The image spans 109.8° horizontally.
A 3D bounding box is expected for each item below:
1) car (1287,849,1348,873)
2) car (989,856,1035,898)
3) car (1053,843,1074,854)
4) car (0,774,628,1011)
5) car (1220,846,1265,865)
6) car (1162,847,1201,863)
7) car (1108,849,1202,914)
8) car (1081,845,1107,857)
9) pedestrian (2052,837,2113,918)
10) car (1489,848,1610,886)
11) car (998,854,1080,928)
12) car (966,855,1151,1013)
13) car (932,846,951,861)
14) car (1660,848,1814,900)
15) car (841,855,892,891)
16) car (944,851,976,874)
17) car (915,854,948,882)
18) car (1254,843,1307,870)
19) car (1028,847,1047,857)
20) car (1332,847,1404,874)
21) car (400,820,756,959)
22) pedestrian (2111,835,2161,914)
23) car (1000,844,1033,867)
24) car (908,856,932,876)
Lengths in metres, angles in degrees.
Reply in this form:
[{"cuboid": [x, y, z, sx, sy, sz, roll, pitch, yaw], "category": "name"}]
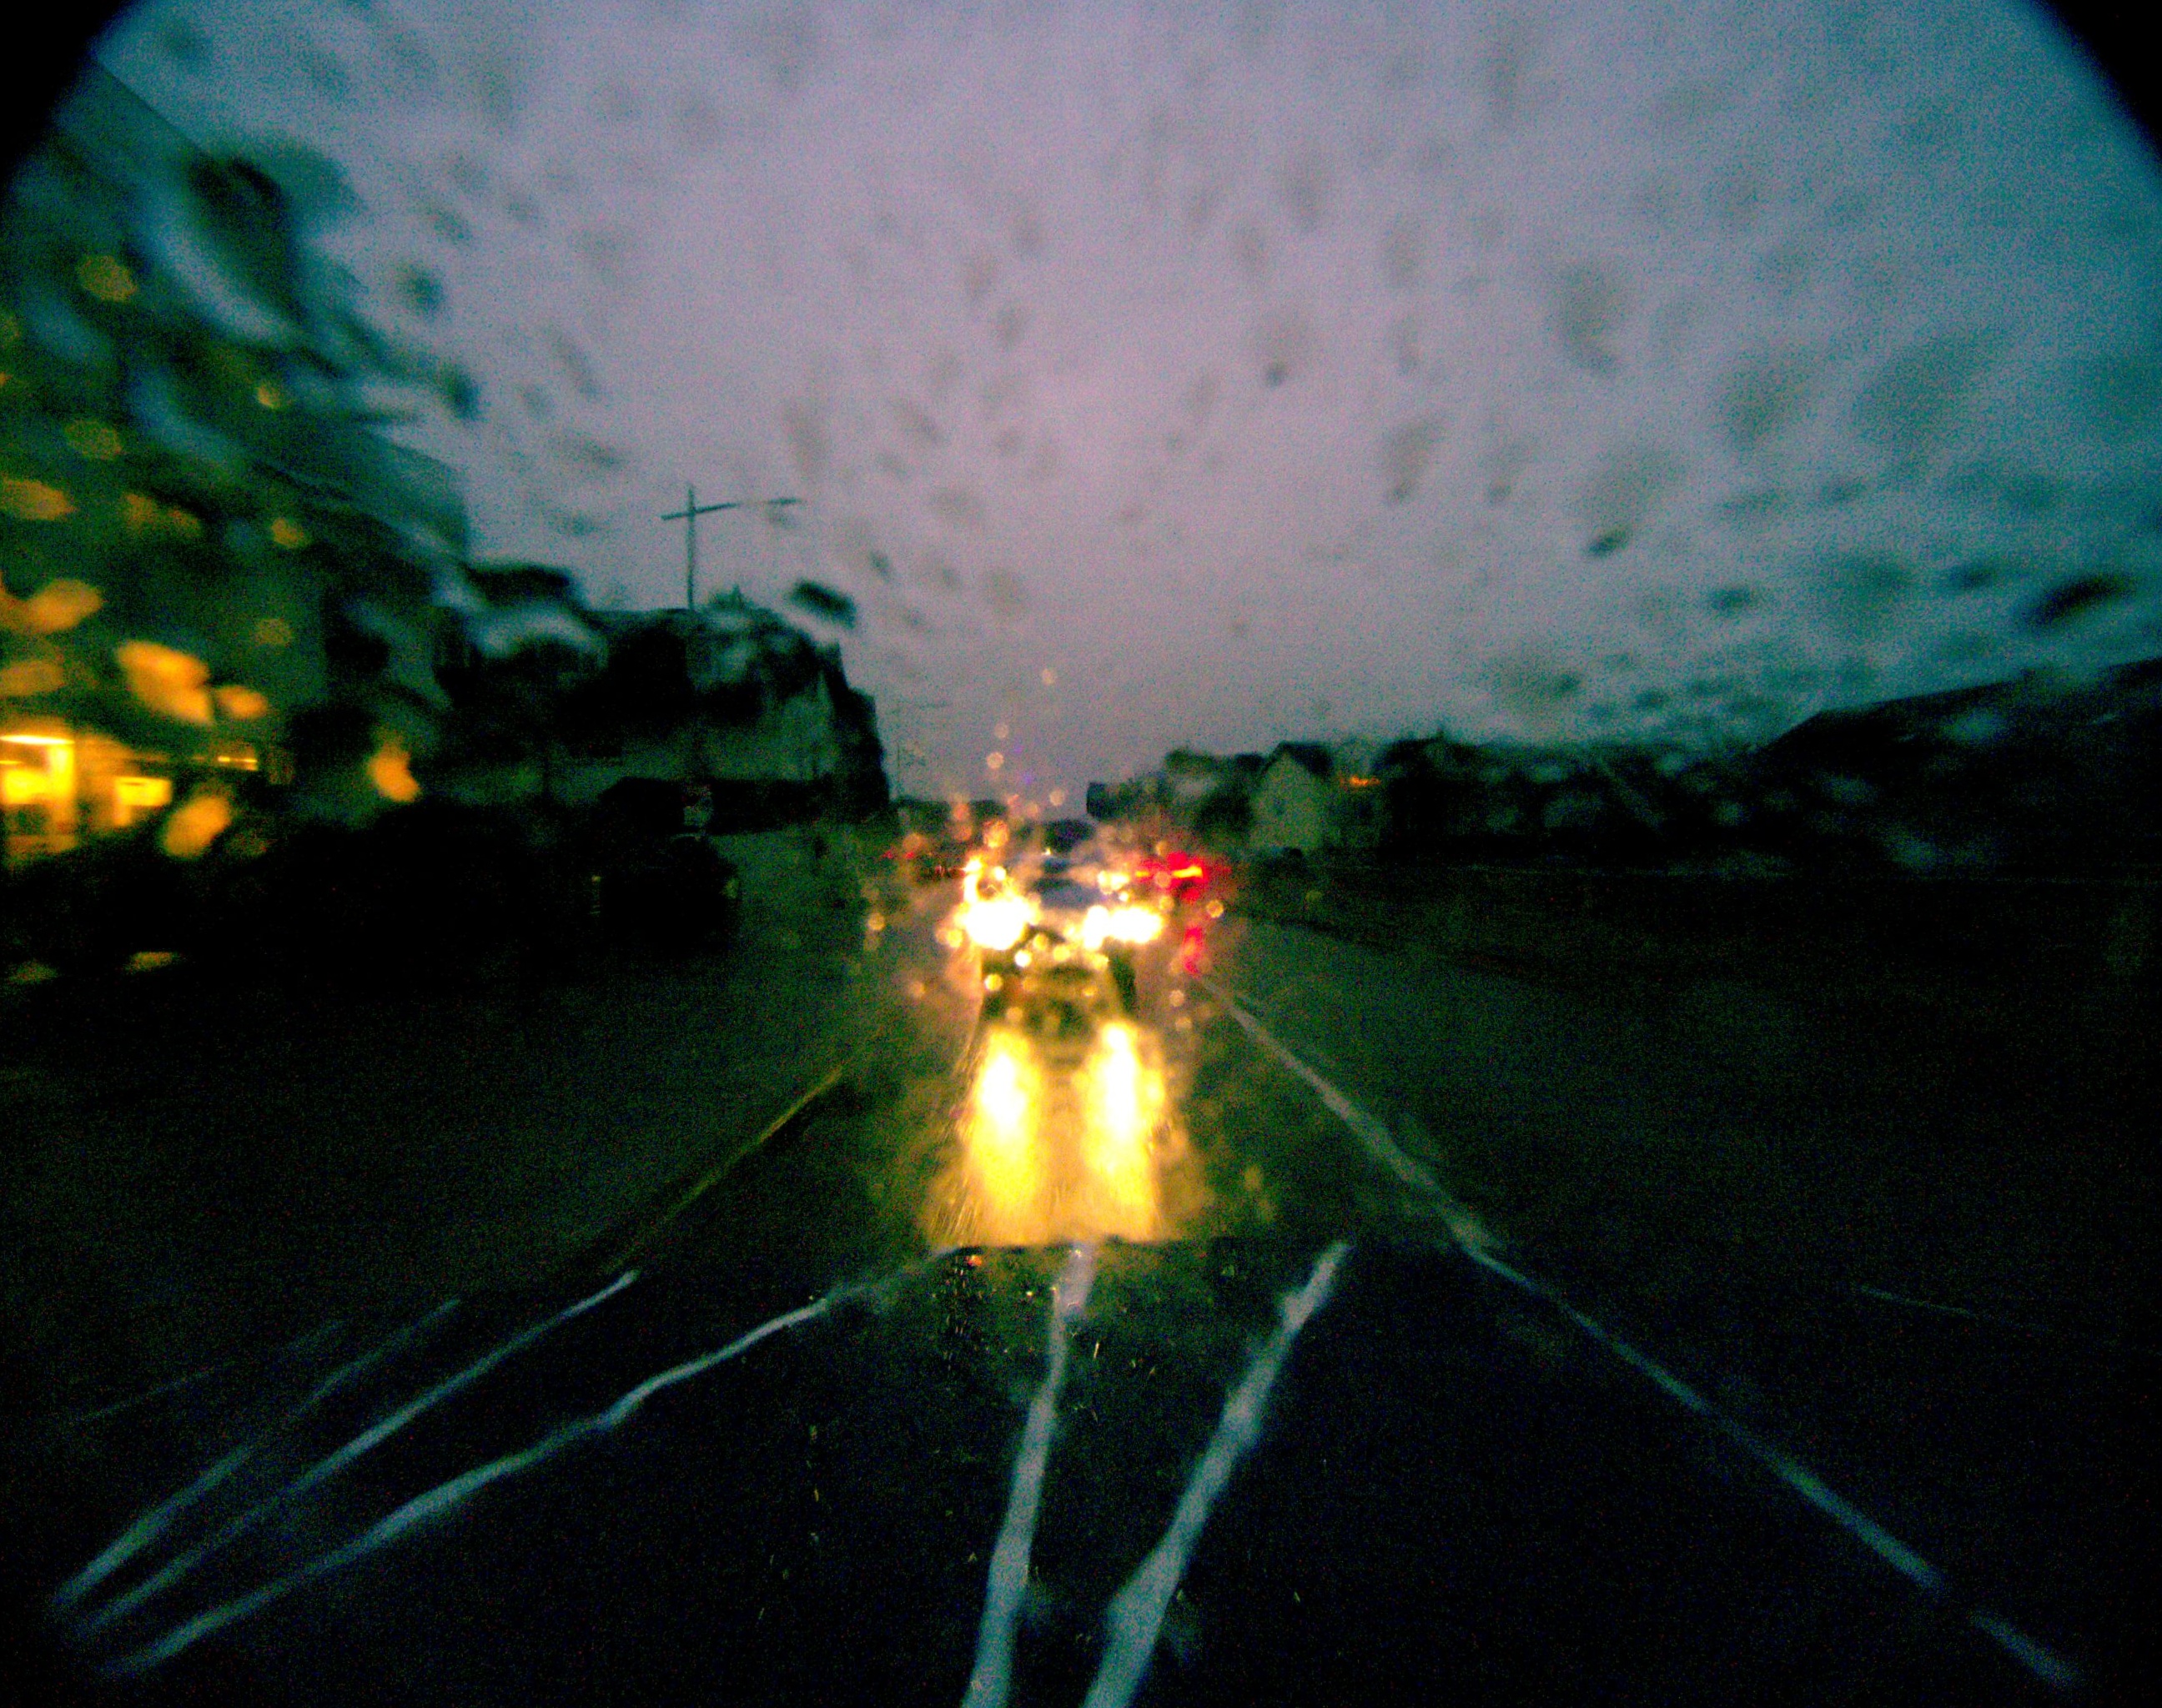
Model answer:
[{"cuboid": [15.243, 0.414, 49.193, 1.801, 1.460, 4.251, -1, 1, -14], "category": "car"}, {"cuboid": [-2.759, 0.844, 29.820, 1.572, 1.460, 3.614, -3, 0, -7], "category": "car"}, {"cuboid": [-2.484, -0.730, 105.452, 1.801, 1.460, 4.250, -1, 1, -18], "category": "car"}, {"cuboid": [-7.828, 0.402, 8.180, 4.553, 1.922, 1.974, 4, 0, -4], "category": "car"}, {"cuboid": [12.608, 0.125, 59.502, 1.677, 1.460, 4.011, 1, 0, -18], "category": "car"}, {"cuboid": [9.324, 0.058, 71.058, 1.801, 1.460, 4.608, -1, 1, -18], "category": "car"}, {"cuboid": [1.967, 0.707, 21.325, 1.784, 1.612, 3.955, -2, 0, -7], "category": "car"}, {"cuboid": [1.560, -0.394, 92.479, 1.801, 1.460, 4.250, -1, 1, -18], "category": "car"}, {"cuboid": [16.477, 0.372, 12.509, 0.512, 1.294, 0.601, -2, 1, -38], "category": "pedestrian"}, {"cuboid": [19.326, 0.494, 31.608, 1.801, 1.460, 4.251, -1, 1, -14], "category": "car"}, {"cuboid": [-1.158, 0.847, 19.087, 1.682, 1.614, 3.997, -1, -1, -8], "category": "car"}, {"cuboid": [-0.323, 0.876, 10.092, 1.888, 1.569, 3.999, -3, -1, -3], "category": "car"}, {"cuboid": [-19.852, -0.125, 108.037, 2.002, 2.002, 3.993, -2, 1, -19], "category": "car"}, {"cuboid": [20.392, 0.560, 23.807, 1.479, 1.500, 3.500, -1, 1, -10], "category": "car"}, {"cuboid": [-9.446, 0.810, 33.707, 1.778, 1.488, 3.775, 1, 0, -9], "category": "car"}, {"cuboid": [-8.490, 0.577, 53.278, 1.743, 1.434, 3.994, -3, 1, -15], "category": "car"}, {"cuboid": [-9.055, 0.816, 46.245, 1.849, 1.577, 3.765, -1, 0, -10], "category": "car"}, {"cuboid": [14.089, 0.144, 53.896, 1.801, 1.816, 4.251, -1, 1, -14], "category": "car"}, {"cuboid": [-6.694, -0.346, 116.942, 1.801, 1.460, 4.250, -1, 1, -19], "category": "car"}, {"cuboid": [16.503, 0.345, 43.887, 1.801, 1.460, 4.251, -1, 1, -14], "category": "car"}, {"cuboid": [-7.570, 0.555, 11.903, 4.154, 1.625, 1.753, 6, -1, -13], "category": "car"}, {"cuboid": [17.498, 0.322, 12.368, 0.693, 1.242, 0.602, -1, 1, -5], "category": "pedestrian"}, {"cuboid": [-5.875, 0.132, 68.958, 2.002, 2.002, 3.993, -2, 1, -19], "category": "car"}, {"cuboid": [-11.108, 0.788, 52.345, 1.498, 1.283, 3.287, -1, 0, -14], "category": "car"}]
